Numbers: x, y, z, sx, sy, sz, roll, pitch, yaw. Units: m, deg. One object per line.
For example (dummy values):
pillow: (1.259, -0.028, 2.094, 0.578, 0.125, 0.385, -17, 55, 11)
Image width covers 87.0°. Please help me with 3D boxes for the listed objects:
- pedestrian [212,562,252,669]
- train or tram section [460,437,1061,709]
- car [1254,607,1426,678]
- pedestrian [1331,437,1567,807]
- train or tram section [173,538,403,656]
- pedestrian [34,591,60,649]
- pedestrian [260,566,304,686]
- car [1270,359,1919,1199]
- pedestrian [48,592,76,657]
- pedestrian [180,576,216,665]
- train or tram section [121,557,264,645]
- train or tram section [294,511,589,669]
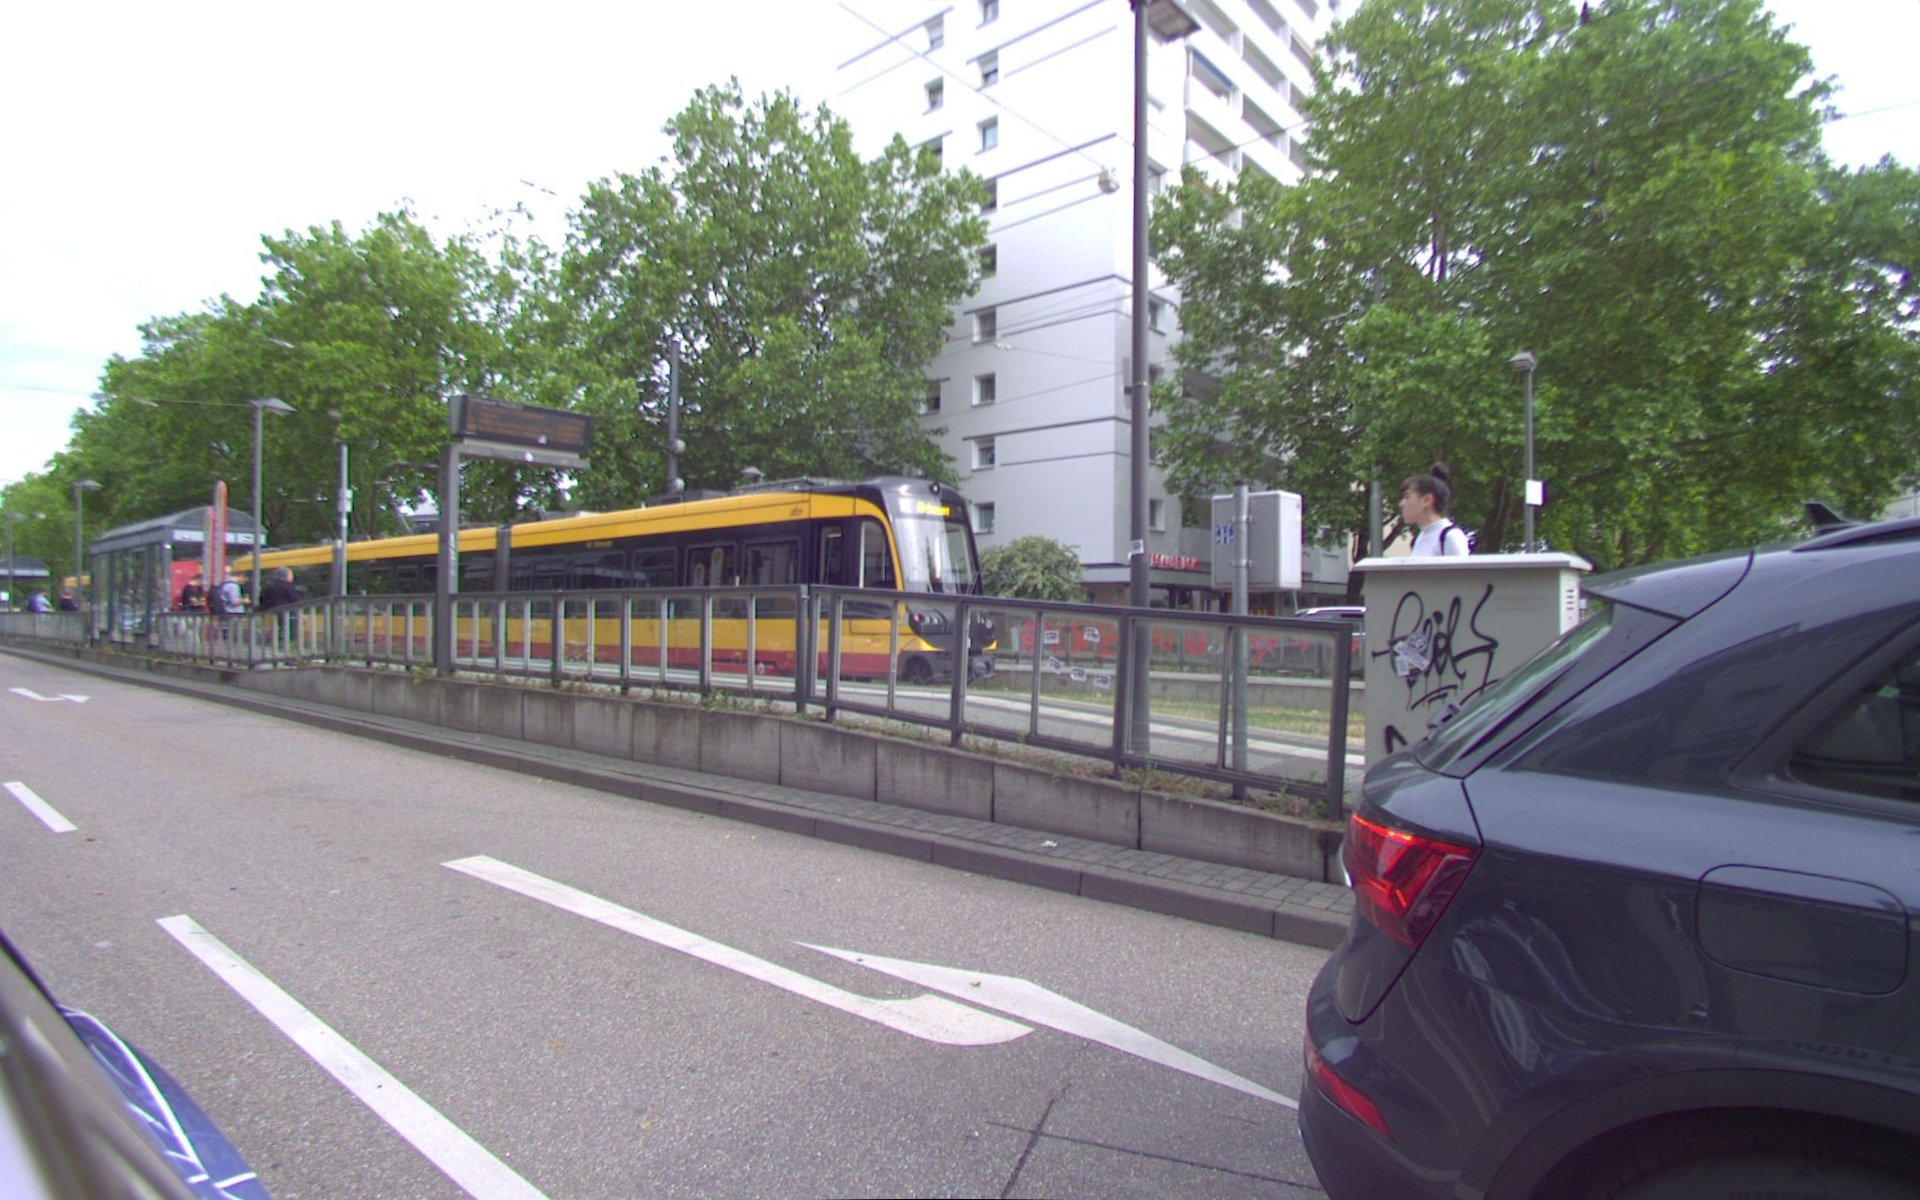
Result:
pedestrian: (-12.758, 0.266, 17.728, 0.605, 1.818, 0.469, -1, 0, 45)
train or tram section: (-5.138, -0.321, 20.367, 15.196, 3.781, 3.295, -1, 0, 41)
car: (7.944, 0.871, 21.415, 3.187, 1.439, 1.577, 0, -1, 12)
pedestrian: (2.414, 0.104, 5.116, 0.972, 1.683, 0.717, -1, 0, 20)
train or tram section: (-26.412, -0.047, 39.065, 16.241, 3.781, 3.295, -1, 0, 41)
pedestrian: (-29.045, 0.623, 32.195, 0.523, 1.818, 0.607, -1, 0, -35)
pedestrian: (-10.549, 0.388, 15.743, 0.513, 1.818, 0.606, -1, 0, -37)
car: (2.682, 0.519, 0.983, 4.225, 1.649, 1.715, -1, 0, 41)
pedestrian: (-25.576, 0.692, 28.833, 0.523, 1.818, 0.607, -1, 0, -35)
pedestrian: (-15.932, 0.418, 21.173, 0.467, 1.818, 0.607, -1, 0, -24)
train or tram section: (-36.657, 0.085, 48.114, 11.039, 3.781, 3.295, -1, 0, 41)
train or tram section: (-15.573, -0.186, 29.566, 12.543, 3.781, 3.295, -1, 0, 41)
